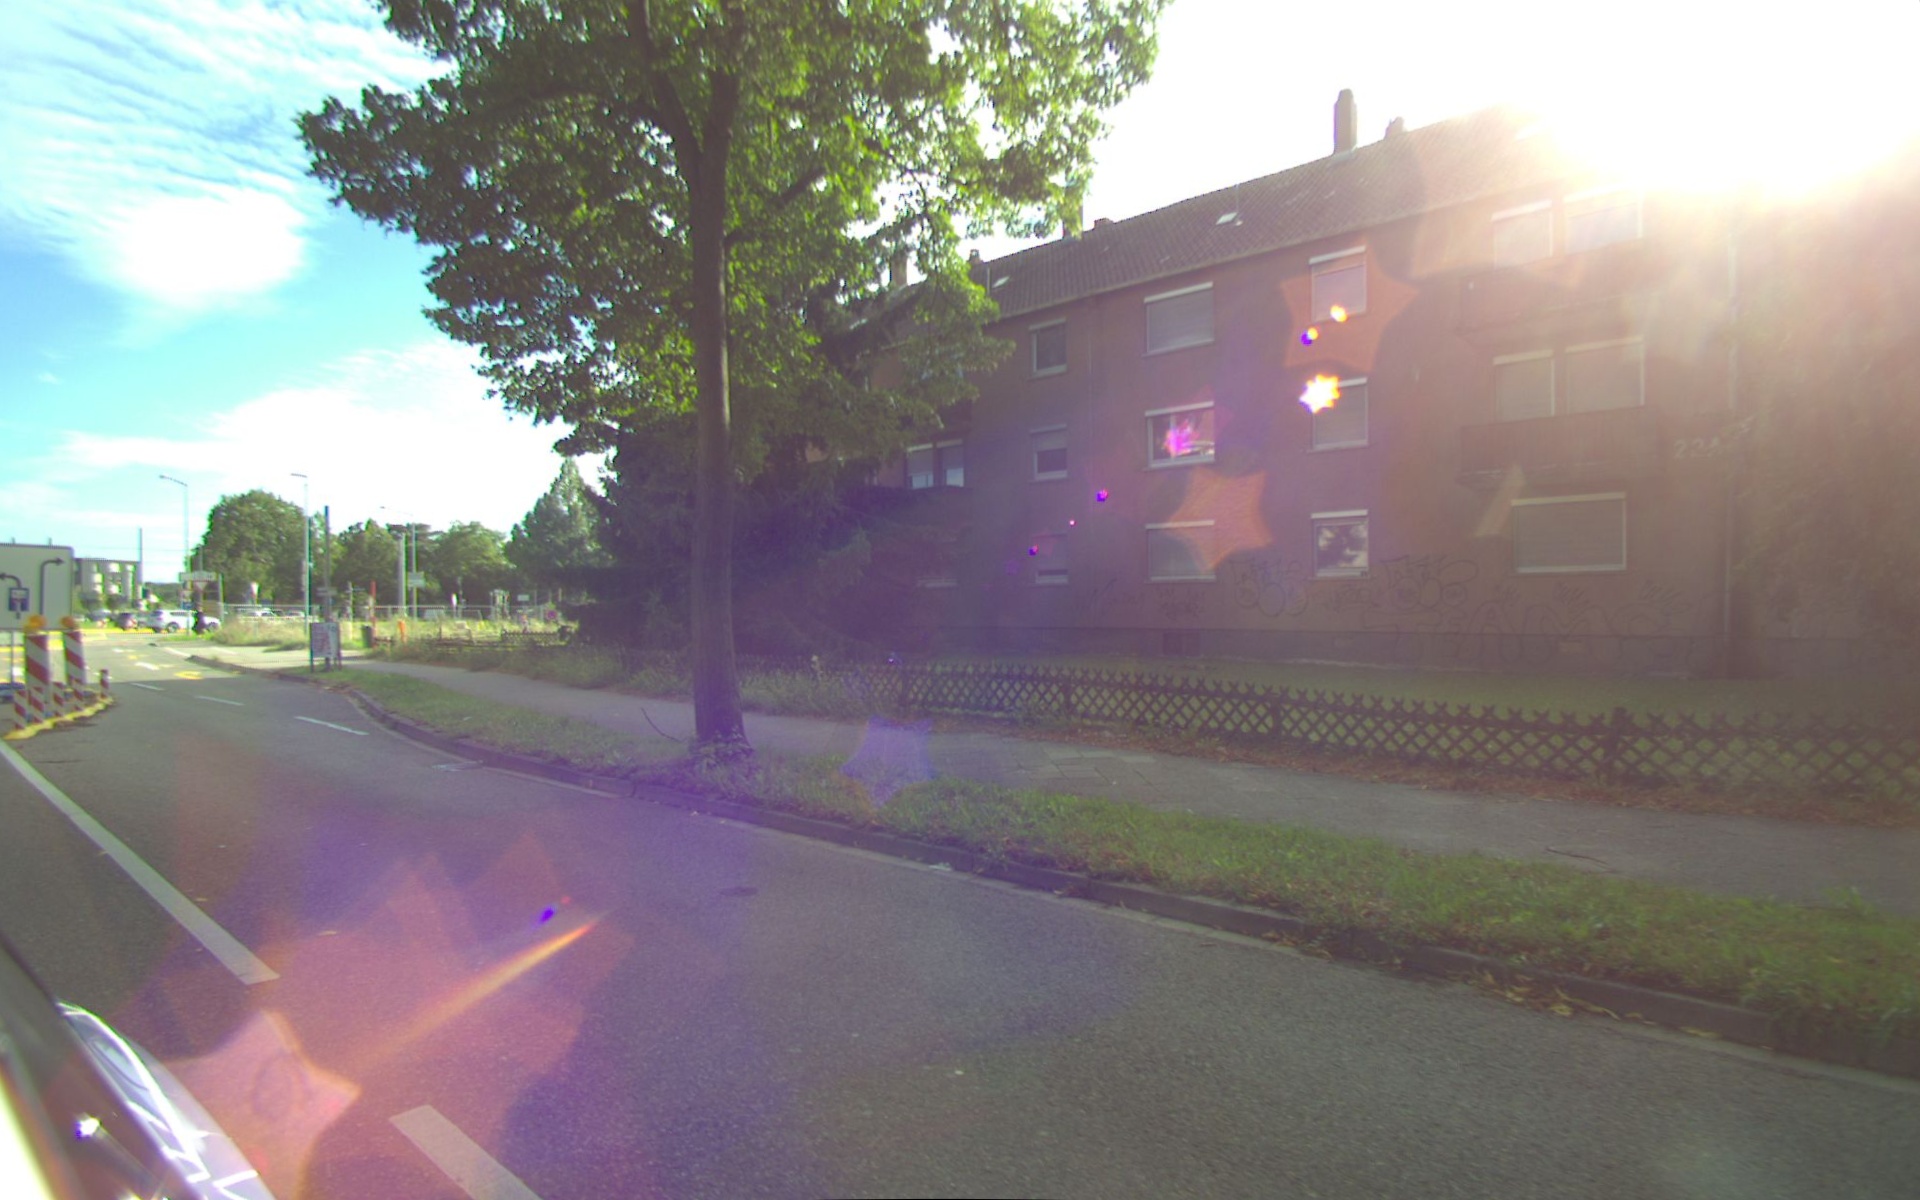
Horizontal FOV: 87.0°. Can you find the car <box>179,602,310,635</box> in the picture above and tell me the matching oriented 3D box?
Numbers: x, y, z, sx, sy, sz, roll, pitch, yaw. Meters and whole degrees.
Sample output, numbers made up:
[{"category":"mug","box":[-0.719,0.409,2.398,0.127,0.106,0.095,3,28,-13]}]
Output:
[{"category":"car","box":[-43.238,1.090,61.290,6.162,1.881,2.478,-1,0,-1]}]

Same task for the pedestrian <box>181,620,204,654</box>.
[{"category":"pedestrian","box":[-41.535,1.997,54.786,0.740,1.838,0.704,-1,0,22]}]
